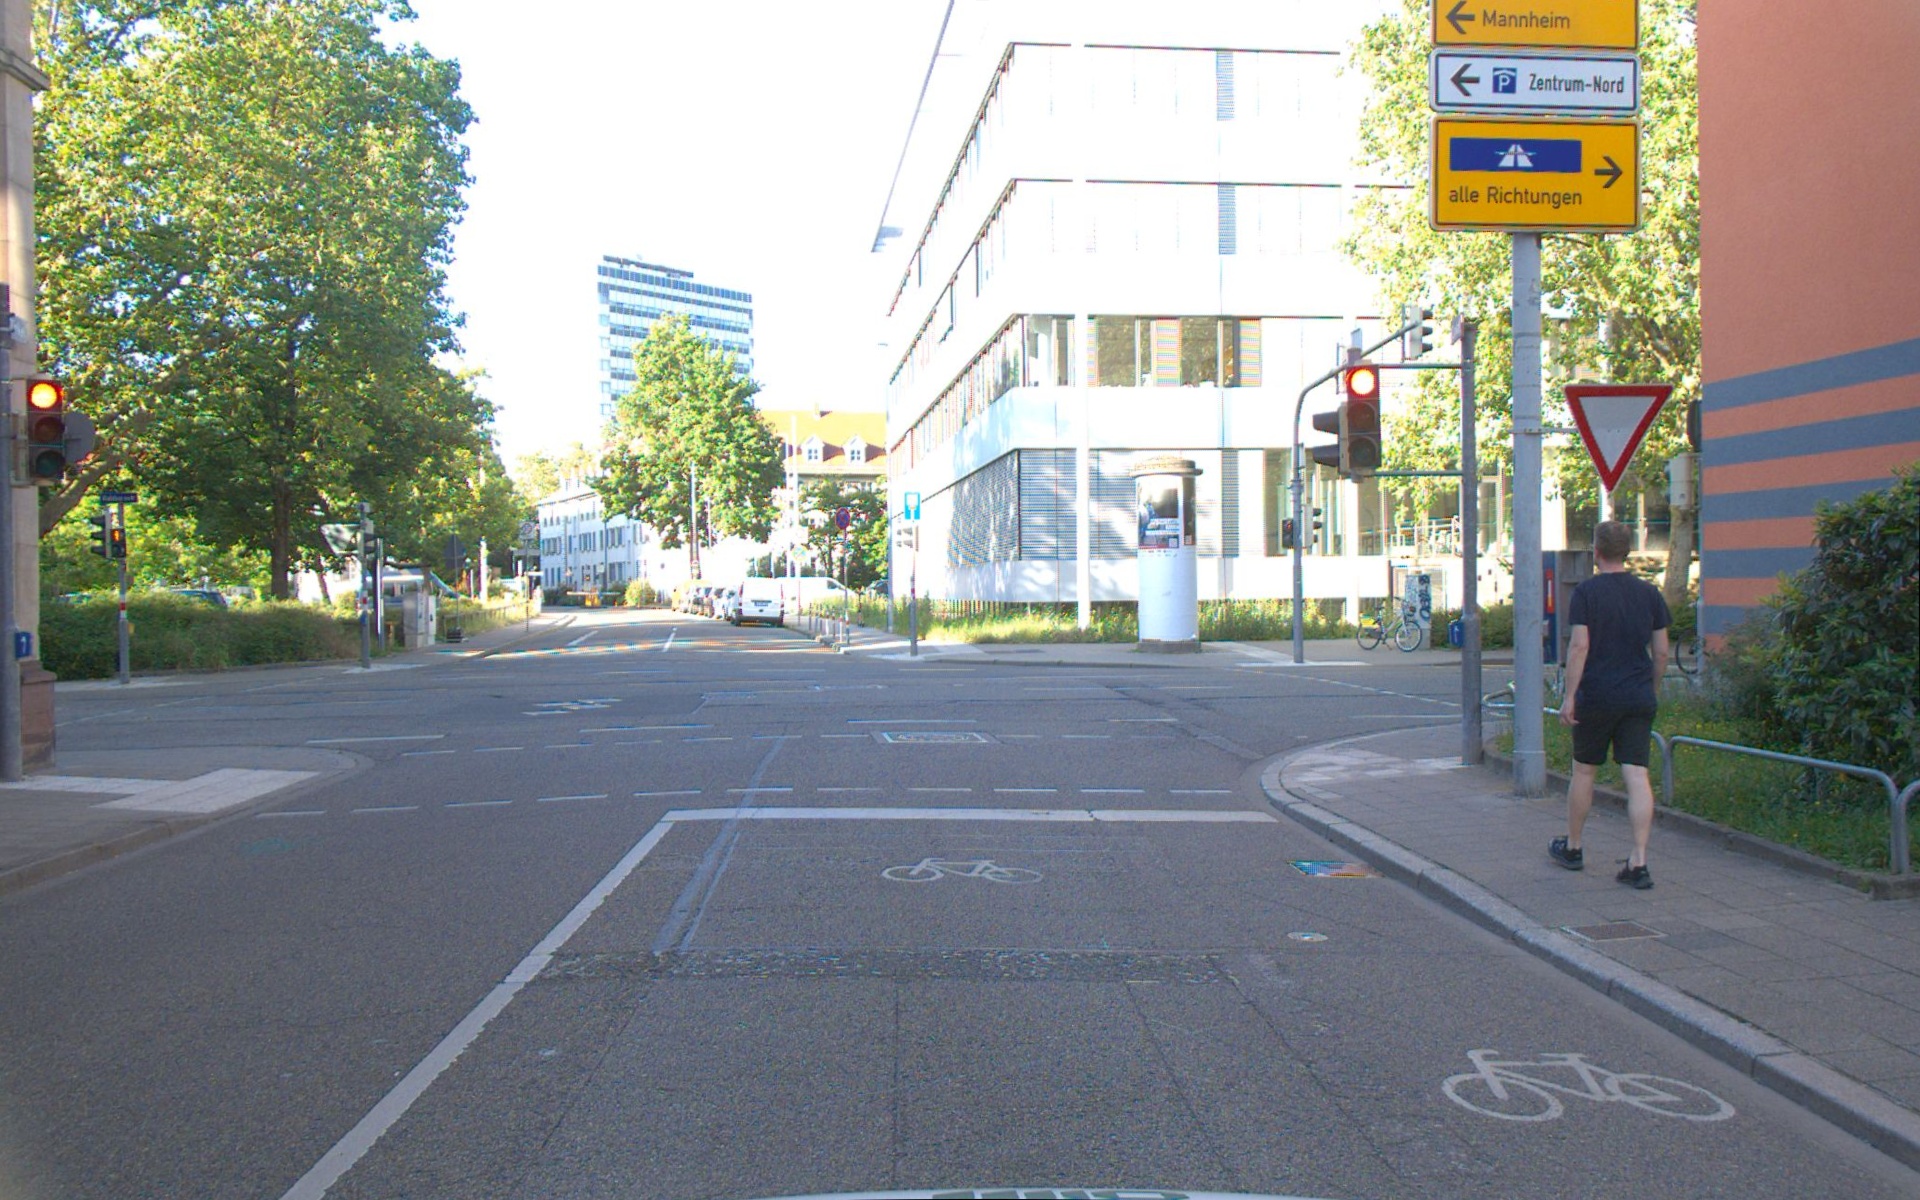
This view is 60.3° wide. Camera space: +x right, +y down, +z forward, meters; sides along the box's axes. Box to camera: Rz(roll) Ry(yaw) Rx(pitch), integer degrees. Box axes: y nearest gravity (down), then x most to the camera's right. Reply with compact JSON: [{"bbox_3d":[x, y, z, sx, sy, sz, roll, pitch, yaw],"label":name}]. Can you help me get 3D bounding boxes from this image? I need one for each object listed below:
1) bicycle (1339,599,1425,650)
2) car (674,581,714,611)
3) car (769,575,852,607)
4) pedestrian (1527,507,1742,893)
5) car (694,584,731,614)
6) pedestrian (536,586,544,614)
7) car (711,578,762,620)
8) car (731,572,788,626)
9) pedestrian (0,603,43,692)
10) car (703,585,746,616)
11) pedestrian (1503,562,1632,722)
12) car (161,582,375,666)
[{"bbox_3d":[9.223,0.527,36.226,0.460,1.067,1.886,-1,0,-42],"label":"bicycle"},{"bbox_3d":[-15.373,-0.241,95.406,2.063,1.687,4.463,-1,1,-11],"label":"car"},{"bbox_3d":[-9.291,-0.526,102.616,4.804,1.905,1.990,1,-1,-17],"label":"car"},{"bbox_3d":[3.412,0.479,8.438,0.631,1.819,0.916,-4,0,2],"label":"pedestrian"},{"bbox_3d":[-12.846,-0.083,85.621,1.674,1.490,4.226,-1,1,-11],"label":"car"},{"bbox_3d":[-23.395,-0.009,92.081,0.373,1.561,0.444,-1,0,-13],"label":"pedestrian"},{"bbox_3d":[-10.334,-0.062,76.312,1.913,1.826,4.224,-1,1,-13],"label":"car"},{"bbox_3d":[-7.860,-0.050,64.501,2.029,1.997,4.229,-1,0,-9],"label":"car"},{"bbox_3d":[-17.524,0.874,30.838,0.705,1.627,0.610,-1,0,-32],"label":"pedestrian"},{"bbox_3d":[-11.553,0.028,81.107,1.675,1.449,4.223,-1,1,-14],"label":"car"},{"bbox_3d":[6.394,0.438,17.432,0.743,1.600,0.944,-4,0,-38],"label":"pedestrian"},{"bbox_3d":[-15.764,0.523,37.884,4.146,1.808,1.901,-1,0,-9],"label":"car"}]
